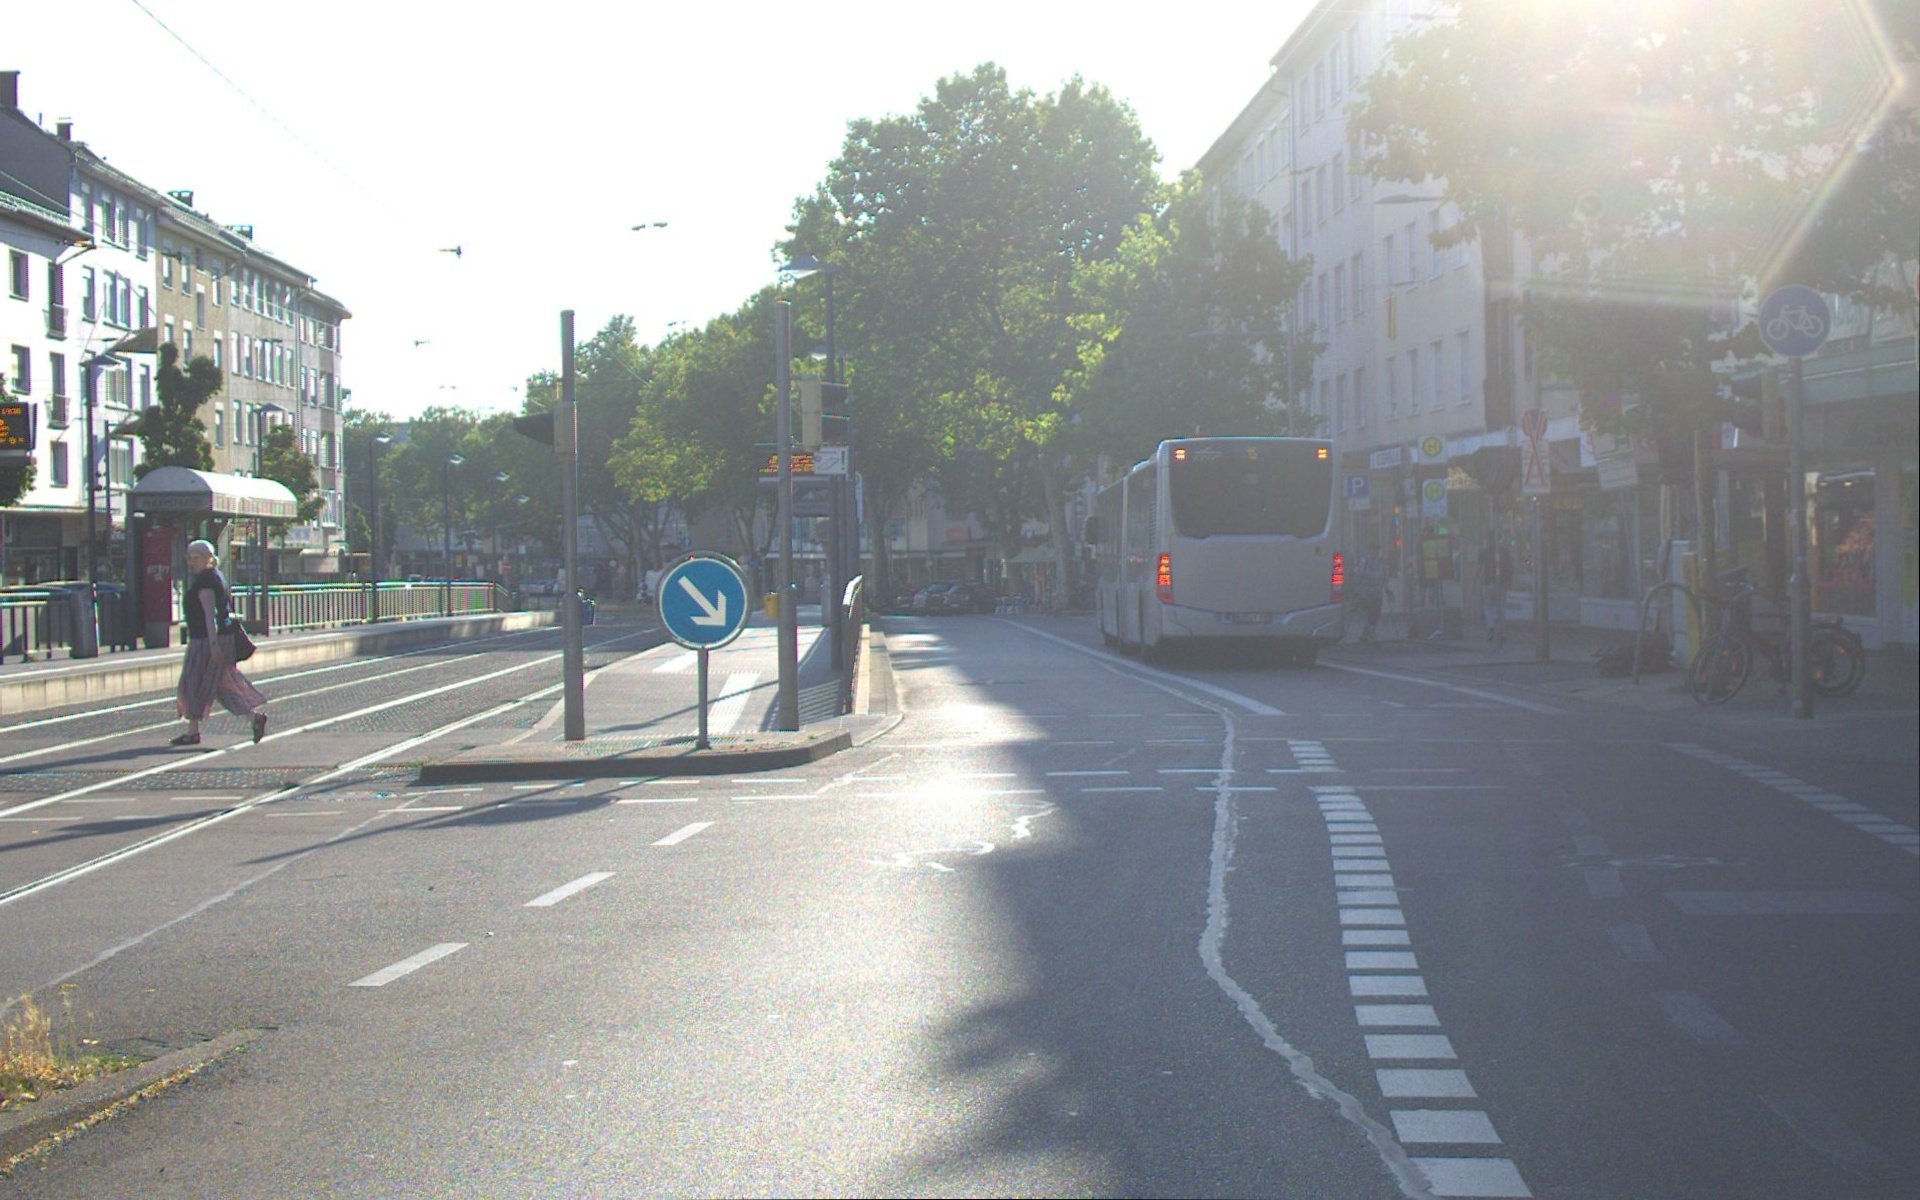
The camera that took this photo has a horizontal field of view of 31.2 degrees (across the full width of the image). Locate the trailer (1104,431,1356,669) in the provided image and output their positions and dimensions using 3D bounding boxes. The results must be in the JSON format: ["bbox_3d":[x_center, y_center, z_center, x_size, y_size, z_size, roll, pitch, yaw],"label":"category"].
[{"bbox_3d":[3.766,-0.716,50.026,2.812,3.100,8.795,1,1,-1],"label":"trailer"}]

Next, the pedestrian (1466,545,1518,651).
[{"bbox_3d":[8.271,-0.039,53.443,0.676,1.622,0.655,1,1,0],"label":"pedestrian"}]

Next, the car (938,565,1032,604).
[{"bbox_3d":[1.157,-0.712,158.754,3.889,1.693,1.833,-2,1,-29],"label":"car"}]

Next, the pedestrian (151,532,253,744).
[{"bbox_3d":[-6.407,0.313,29.090,0.680,1.764,0.687,-1,1,0],"label":"pedestrian"}]

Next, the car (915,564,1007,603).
[{"bbox_3d":[0.054,-0.783,161.442,3.889,1.693,1.833,-2,1,-29],"label":"car"}]

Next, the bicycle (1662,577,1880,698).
[{"bbox_3d":[7.379,0.337,31.326,1.772,1.018,0.694,-2,1,-1],"label":"bicycle"}]

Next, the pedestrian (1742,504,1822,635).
[{"bbox_3d":[12.796,-0.481,53.526,0.988,2.007,0.929,-1,1,0],"label":"pedestrian"}]

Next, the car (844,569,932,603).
[{"bbox_3d":[-3.461,-0.687,166.379,3.889,1.591,1.691,-2,1,-29],"label":"car"}]

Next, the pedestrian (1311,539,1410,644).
[{"bbox_3d":[6.453,-0.150,55.416,1.148,1.654,1.186,-1,1,-21],"label":"pedestrian"}]

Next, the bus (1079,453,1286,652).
[{"bbox_3d":[3.678,-0.814,58.941,2.812,3.091,9.095,1,1,-1],"label":"bus"}]

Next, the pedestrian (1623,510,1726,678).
[{"bbox_3d":[8.838,-0.084,42.565,0.953,2.007,0.917,-3,1,-2],"label":"pedestrian"}]
